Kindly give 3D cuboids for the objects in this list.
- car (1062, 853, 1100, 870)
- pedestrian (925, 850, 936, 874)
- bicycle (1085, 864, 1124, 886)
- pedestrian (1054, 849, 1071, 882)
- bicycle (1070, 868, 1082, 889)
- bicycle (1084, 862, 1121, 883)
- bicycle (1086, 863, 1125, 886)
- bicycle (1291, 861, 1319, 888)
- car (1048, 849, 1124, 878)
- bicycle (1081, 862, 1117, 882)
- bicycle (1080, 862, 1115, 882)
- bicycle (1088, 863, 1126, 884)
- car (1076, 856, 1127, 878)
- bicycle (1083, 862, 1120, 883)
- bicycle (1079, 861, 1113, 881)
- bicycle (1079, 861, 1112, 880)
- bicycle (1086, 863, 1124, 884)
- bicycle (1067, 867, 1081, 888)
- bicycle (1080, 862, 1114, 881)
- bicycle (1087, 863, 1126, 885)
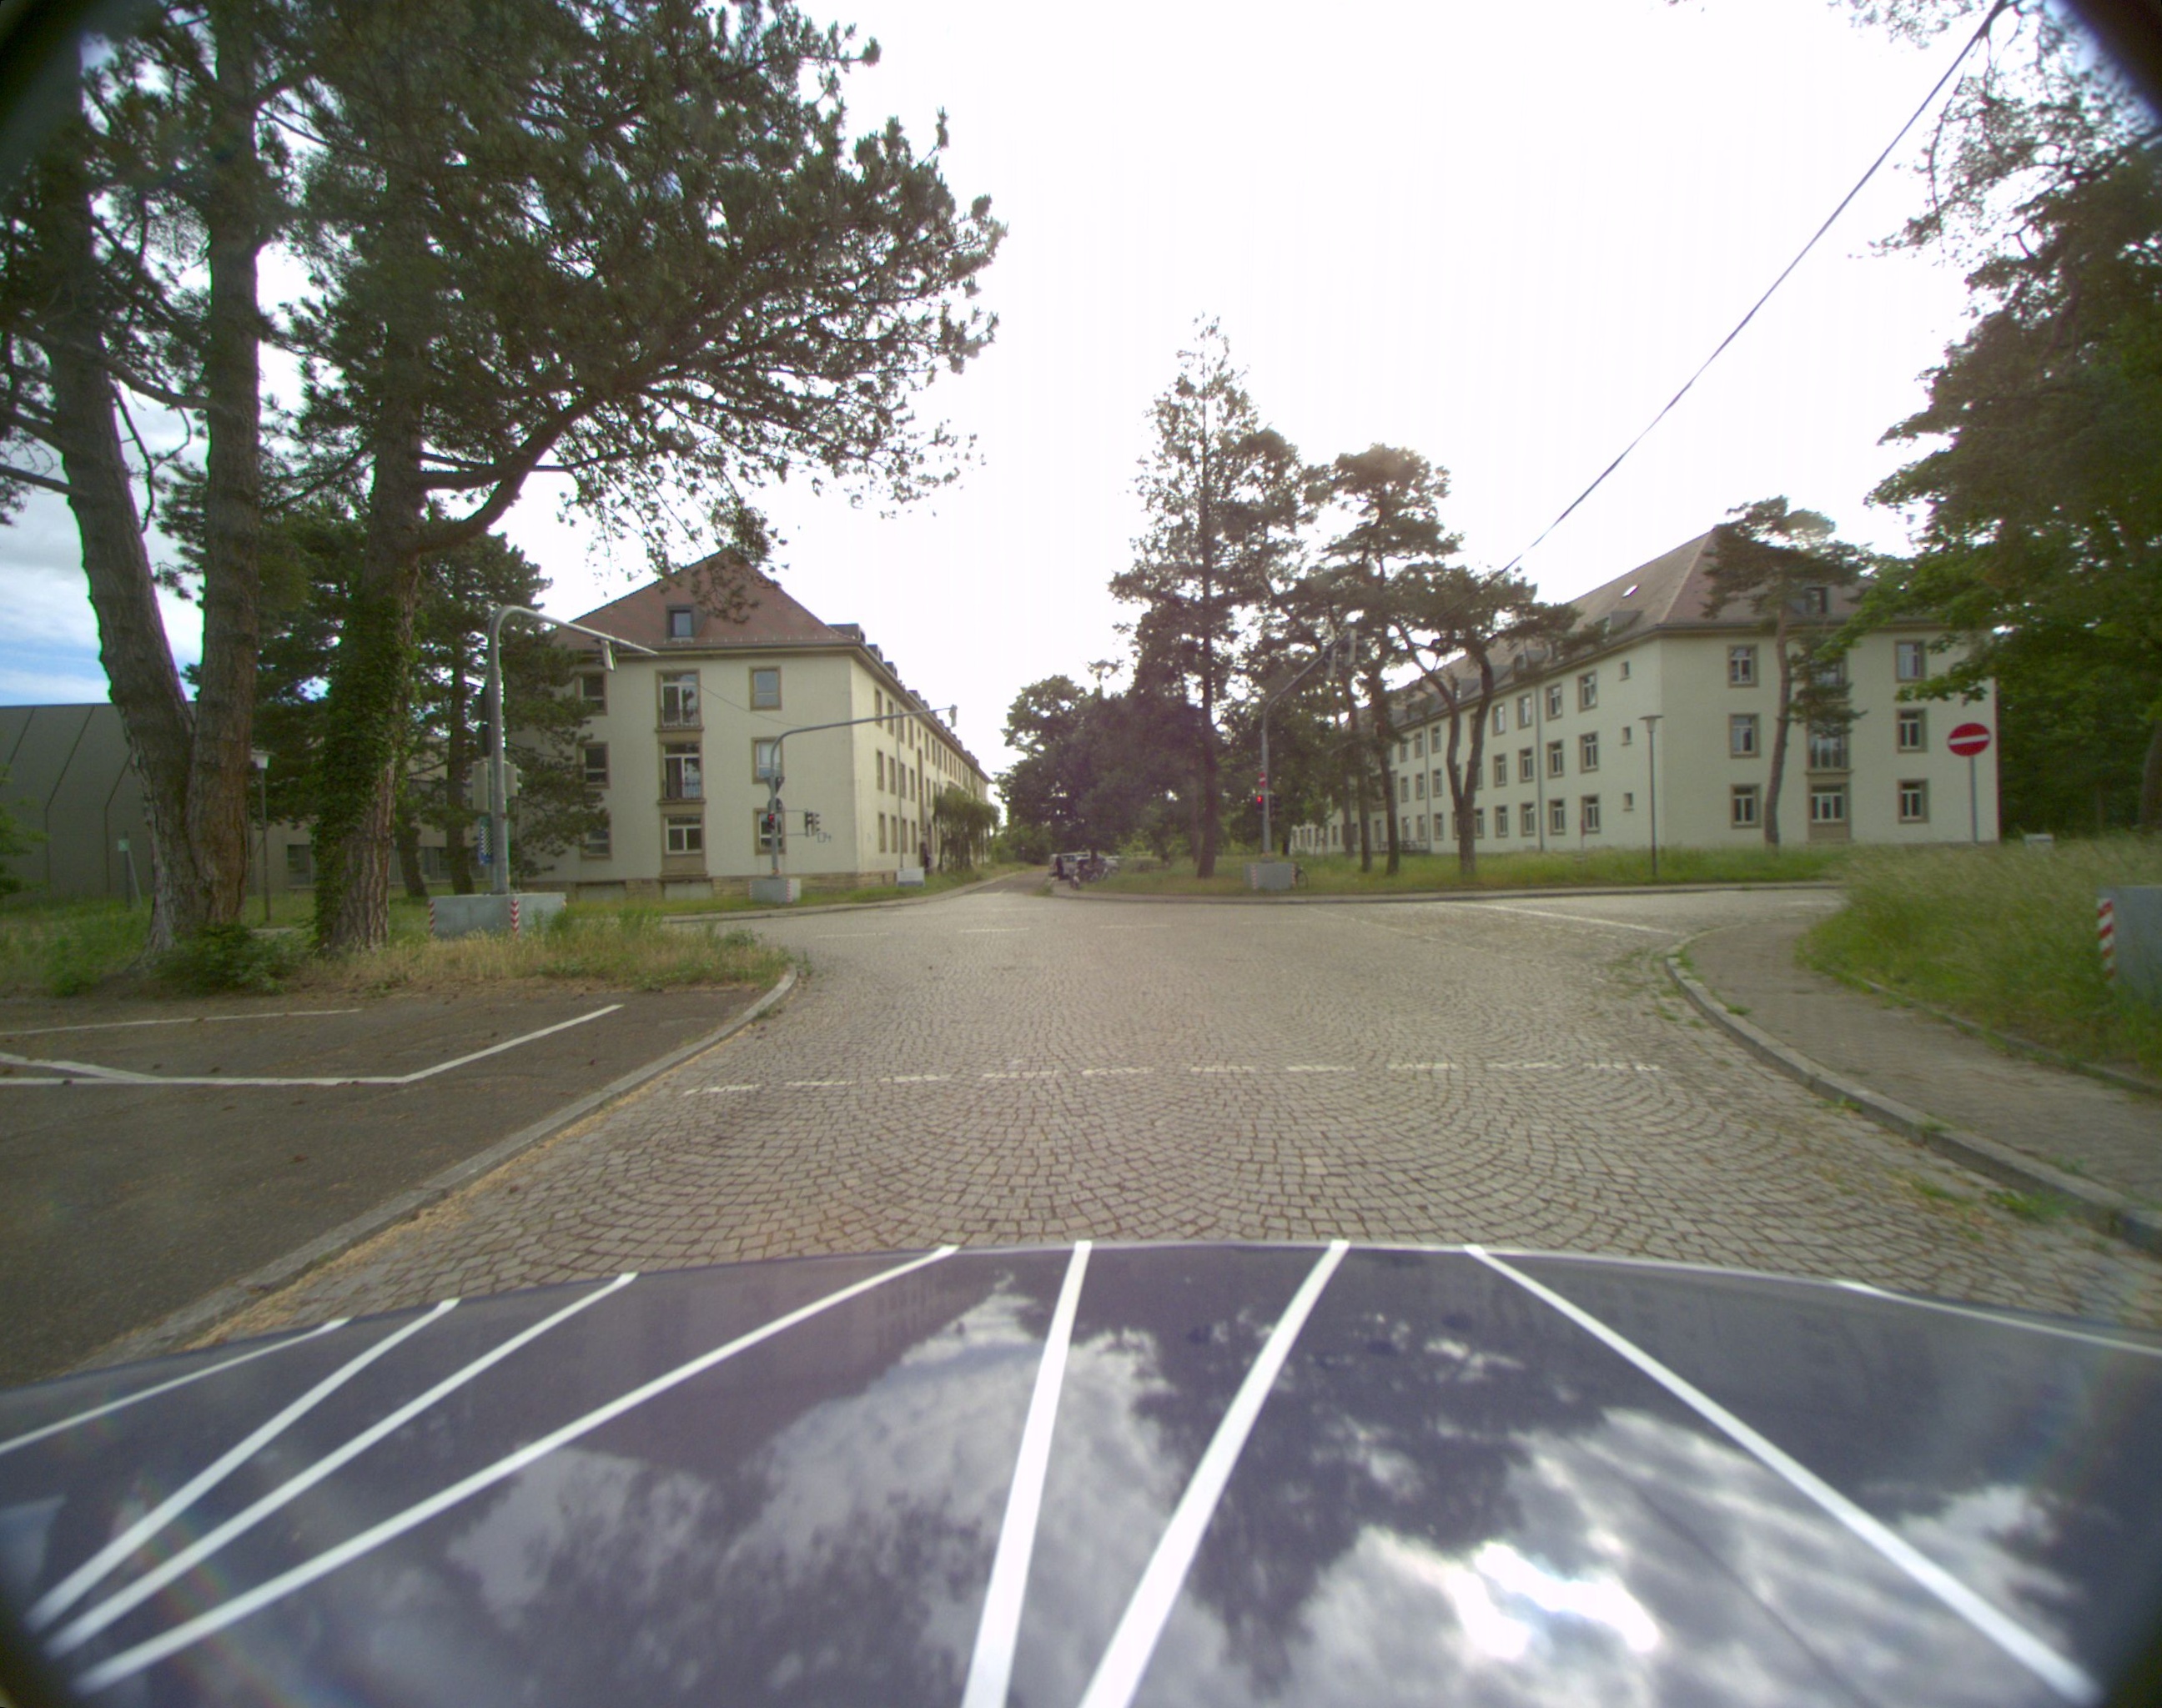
[{"bbox_3d":[-0.046,0.725,70.605,3.440,1.440,1.913,-2,0,-3],"label":"car"},{"bbox_3d":[-10.674,0.573,53.843,0.568,1.691,0.532,-2,1,2],"label":"pedestrian"},{"bbox_3d":[1.203,1.070,38.656,1.899,1.058,0.616,-2,0,-3],"label":"bicycle"},{"bbox_3d":[-1.083,0.658,44.815,0.791,1.926,0.589,-1,1,30],"label":"pedestrian"},{"bbox_3d":[-0.217,1.127,35.206,0.459,0.903,1.663,-2,0,3],"label":"bicycle"},{"bbox_3d":[1.163,1.026,41.453,1.951,1.059,0.562,-2,1,-3],"label":"bicycle"},{"bbox_3d":[1.246,1.038,39.212,1.951,1.104,0.562,-2,1,-3],"label":"bicycle"},{"bbox_3d":[7.714,0.700,26.197,0.294,0.911,1.052,-2,0,-23],"label":"bicycle"},{"bbox_3d":[0.342,0.688,57.068,5.367,1.987,2.289,-2,0,-9],"label":"car"},{"bbox_3d":[1.013,1.015,42.537,1.951,1.059,0.562,-2,1,-3],"label":"bicycle"},{"bbox_3d":[0.930,1.007,43.243,1.951,1.059,0.562,-2,1,-3],"label":"bicycle"},{"bbox_3d":[1.388,1.040,40.391,1.951,1.059,0.562,-2,1,-3],"label":"bicycle"},{"bbox_3d":[1.396,0.915,53.456,3.440,1.440,1.913,-2,0,-3],"label":"car"},{"bbox_3d":[1.128,1.019,41.993,1.951,1.059,0.562,-2,1,-3],"label":"bicycle"},{"bbox_3d":[0.866,0.989,44.646,1.951,1.059,0.562,-2,1,-3],"label":"bicycle"},{"bbox_3d":[0.860,0.980,45.246,1.951,1.059,0.562,-2,1,-3],"label":"bicycle"},{"bbox_3d":[1.292,1.035,40.875,1.951,1.059,0.562,-2,1,-3],"label":"bicycle"},{"bbox_3d":[-0.339,1.121,37.025,0.459,0.968,1.663,-2,0,7],"label":"bicycle"},{"bbox_3d":[0.926,0.997,43.970,1.951,1.059,0.562,-2,1,-3],"label":"bicycle"},{"bbox_3d":[1.317,1.052,39.742,1.951,1.059,0.562,-2,1,-3],"label":"bicycle"}]
